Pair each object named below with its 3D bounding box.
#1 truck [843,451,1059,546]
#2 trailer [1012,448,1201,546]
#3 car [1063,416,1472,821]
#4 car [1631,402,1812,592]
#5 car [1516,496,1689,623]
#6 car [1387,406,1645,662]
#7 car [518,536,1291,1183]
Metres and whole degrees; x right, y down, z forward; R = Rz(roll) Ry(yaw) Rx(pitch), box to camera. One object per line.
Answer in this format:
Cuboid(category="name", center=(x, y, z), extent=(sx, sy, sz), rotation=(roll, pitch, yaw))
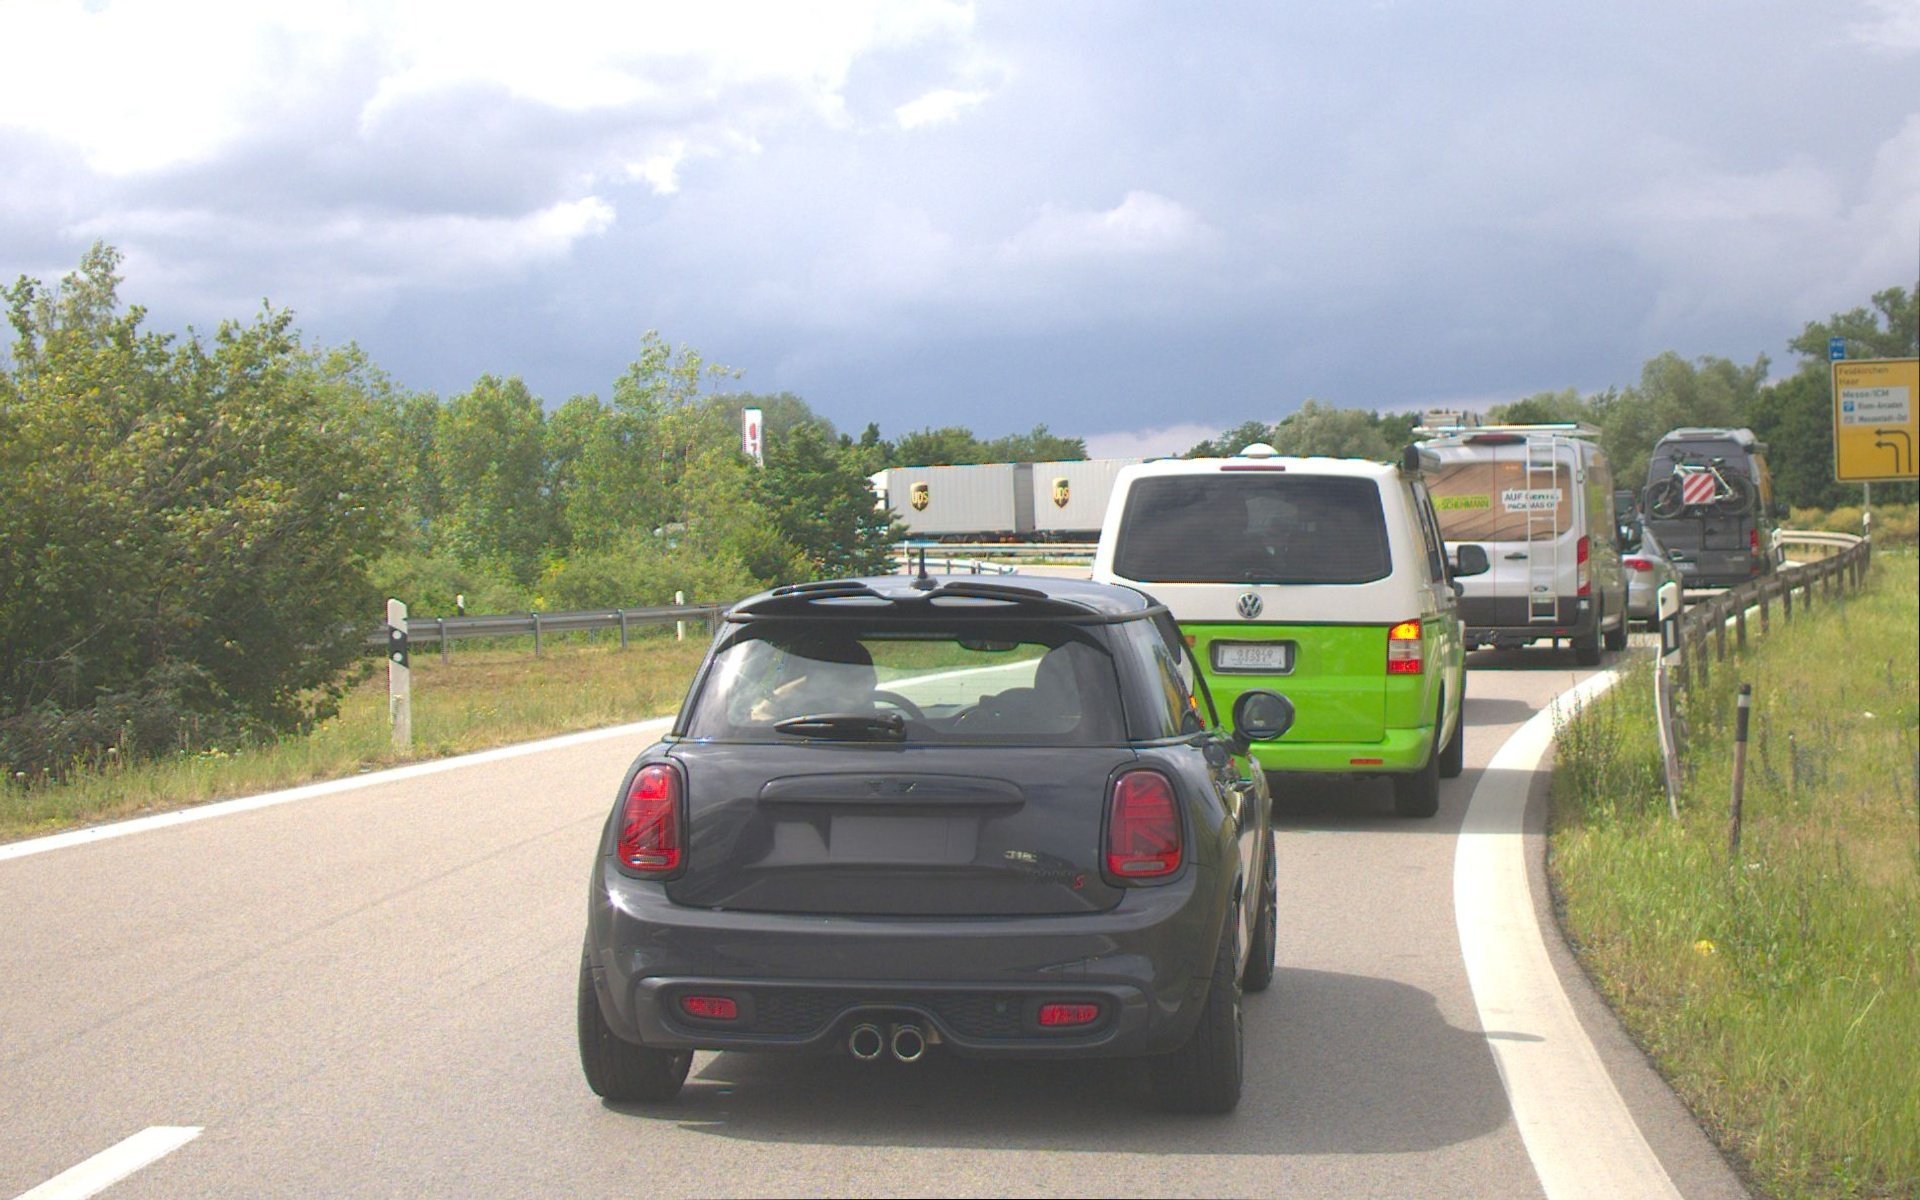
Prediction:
Cuboid(category="truck", center=(-0.471, -4.360, 148.728), extent=(10.022, 3.962, 2.838), rotation=(1, 1, 42))
Cuboid(category="trailer", center=(5.955, -4.194, 141.753), extent=(3.036, 3.884, 8.772), rotation=(0, 1, -35))
Cuboid(category="car", center=(1.860, 0.059, 19.567), extent=(1.912, 2.038, 4.179), rotation=(0, 1, 11))
Cuboid(category="car", center=(13.093, -1.685, 58.764), extent=(2.313, 3.058, 6.656), rotation=(1, 1, 18))
Cuboid(category="car", center=(8.805, -0.541, 46.895), extent=(1.995, 1.636, 3.926), rotation=(1, 1, 15))
Cuboid(category="car", center=(6.231, -0.707, 37.990), extent=(2.213, 2.613, 5.530), rotation=(1, 1, 15))
Cuboid(category="car", center=(0.031, 0.587, 10.205), extent=(1.800, 1.541, 3.737), rotation=(0, 1, 7))
